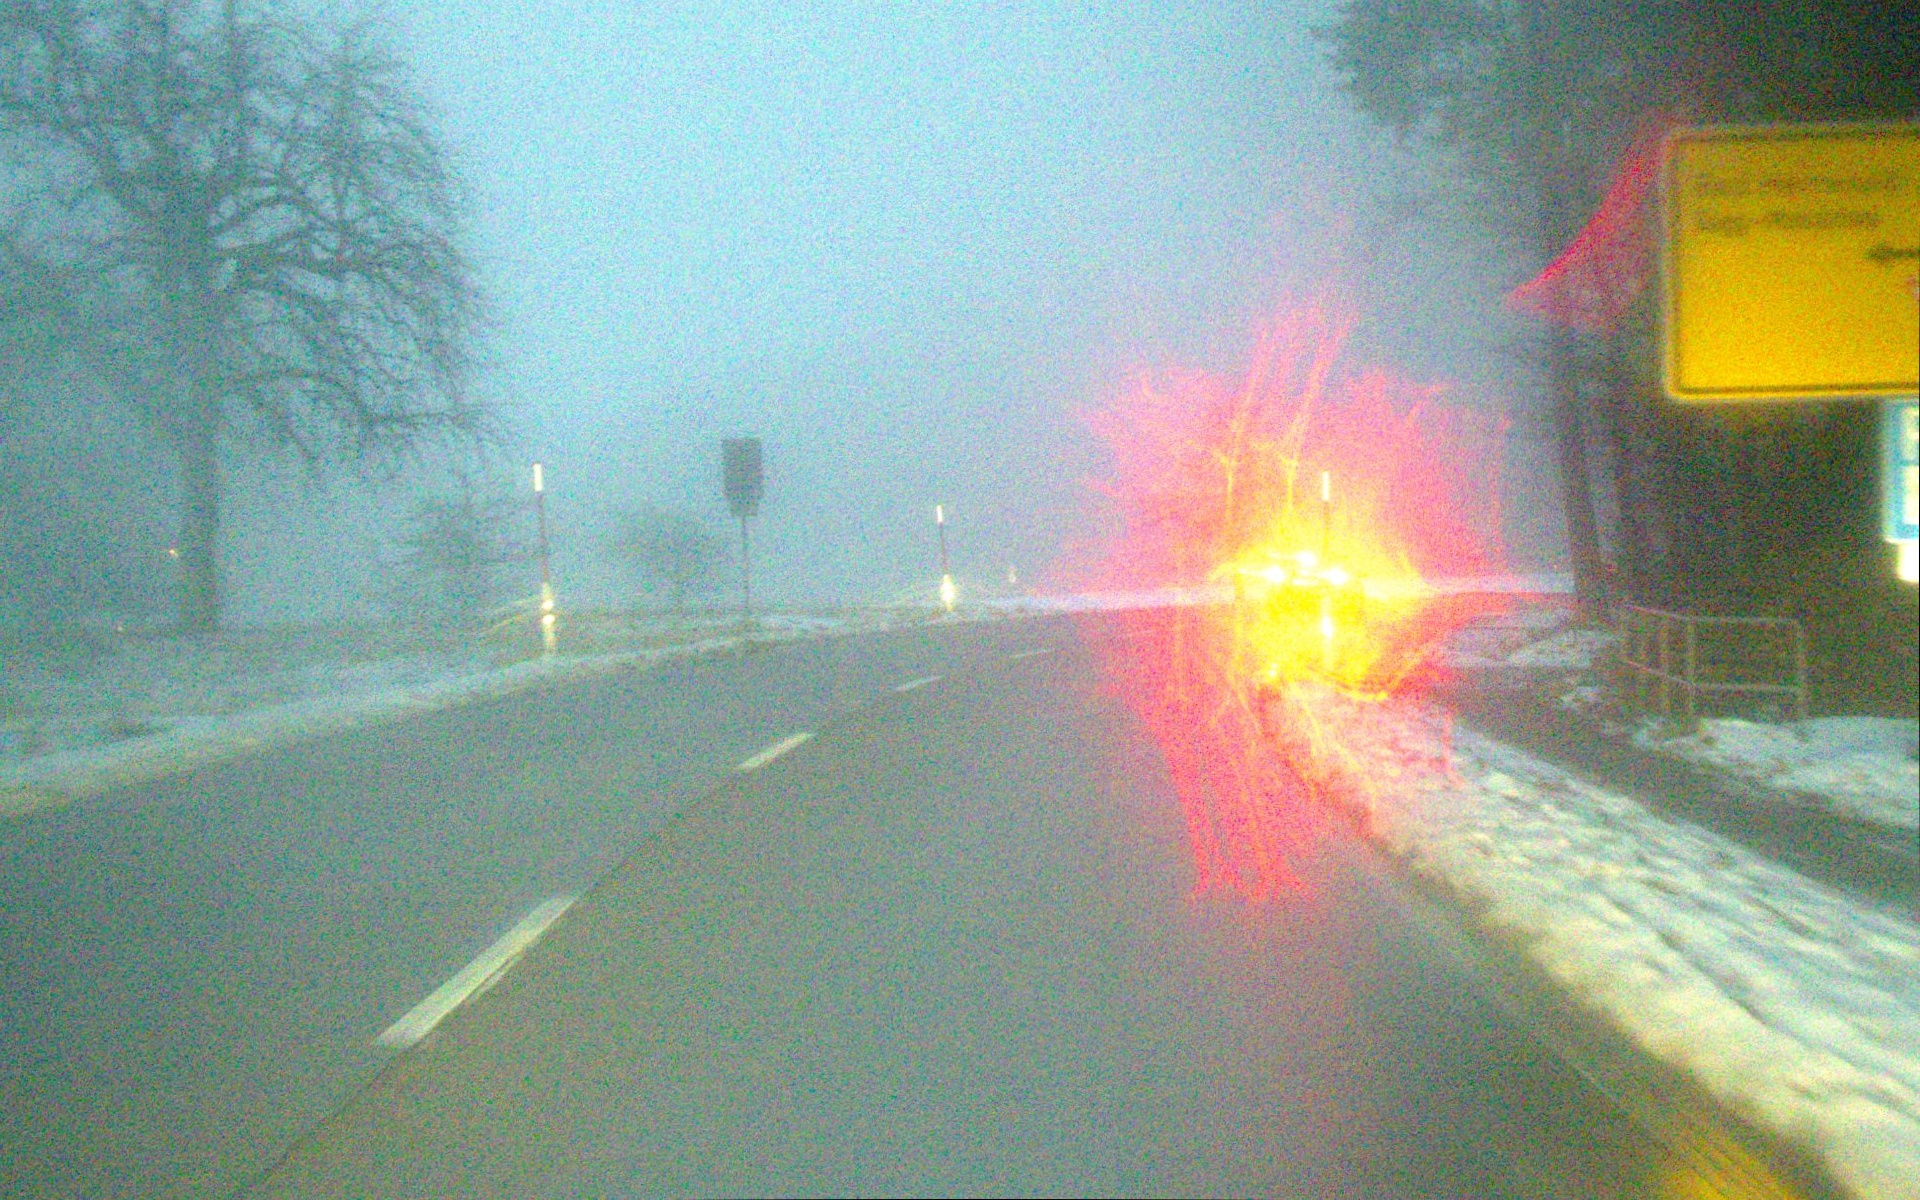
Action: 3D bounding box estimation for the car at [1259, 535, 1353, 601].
[{"bbox_3d":[7.483,-0.704,74.103,1.922,1.272,3.999,-1,2,7],"label":"car"}]
